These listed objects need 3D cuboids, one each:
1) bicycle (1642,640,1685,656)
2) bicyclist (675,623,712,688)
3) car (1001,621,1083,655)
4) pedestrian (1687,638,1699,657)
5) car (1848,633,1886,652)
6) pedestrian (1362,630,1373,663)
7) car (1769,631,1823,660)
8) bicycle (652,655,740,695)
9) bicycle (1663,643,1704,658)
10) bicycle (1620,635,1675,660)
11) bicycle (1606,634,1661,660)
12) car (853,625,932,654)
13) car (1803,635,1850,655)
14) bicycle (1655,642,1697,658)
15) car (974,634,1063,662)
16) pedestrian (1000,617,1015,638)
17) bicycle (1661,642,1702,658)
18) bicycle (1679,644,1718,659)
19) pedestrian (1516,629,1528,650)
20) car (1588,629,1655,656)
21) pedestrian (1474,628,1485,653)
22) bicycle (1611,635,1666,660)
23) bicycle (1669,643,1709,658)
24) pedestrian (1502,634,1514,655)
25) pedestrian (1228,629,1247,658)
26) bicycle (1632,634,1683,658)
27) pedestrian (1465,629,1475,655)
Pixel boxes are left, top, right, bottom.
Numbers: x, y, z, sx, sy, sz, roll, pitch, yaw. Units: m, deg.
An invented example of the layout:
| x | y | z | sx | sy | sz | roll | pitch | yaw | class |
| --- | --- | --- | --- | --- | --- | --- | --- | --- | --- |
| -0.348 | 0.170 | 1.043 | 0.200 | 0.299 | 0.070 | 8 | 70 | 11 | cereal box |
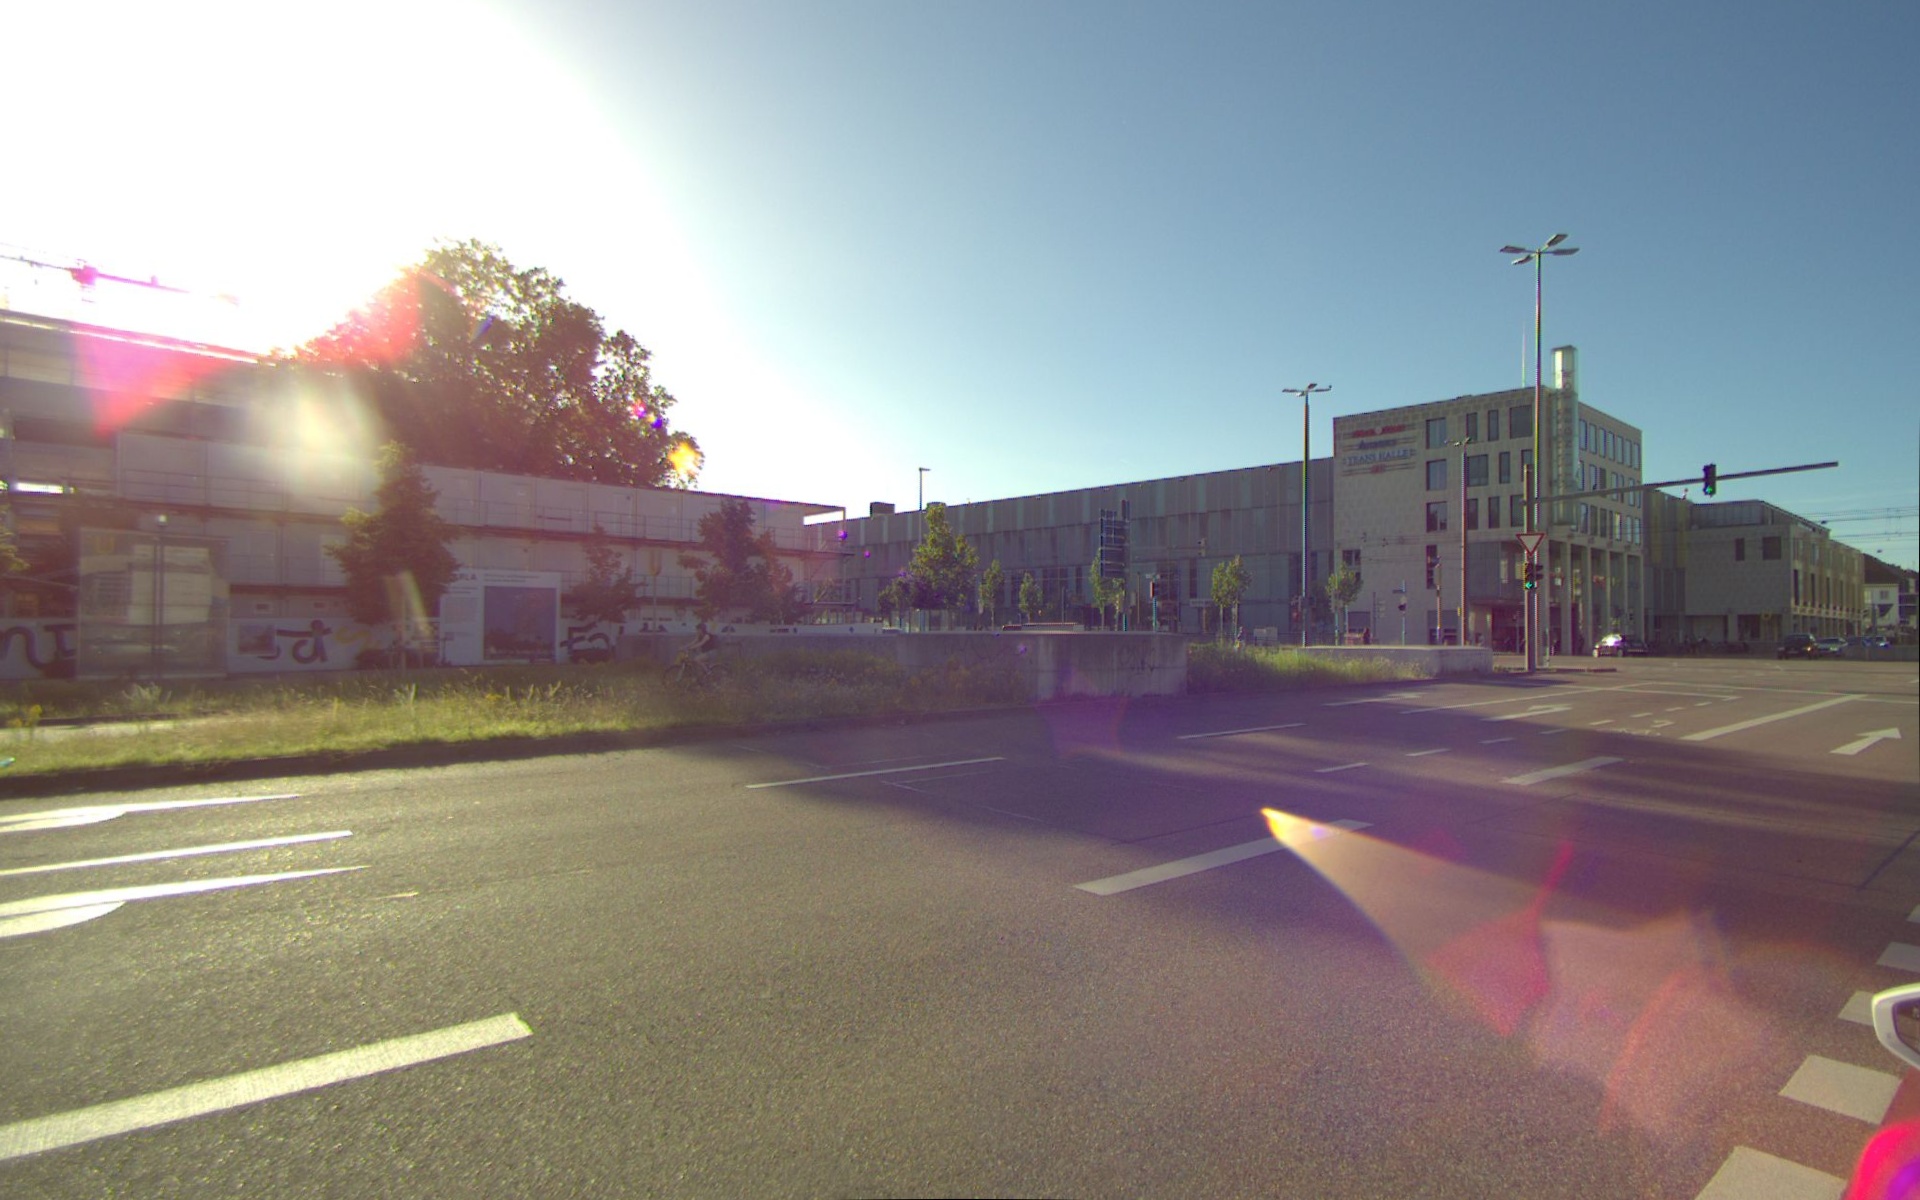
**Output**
| x | y | z | sx | sy | sz | roll | pitch | yaw | class |
| --- | --- | --- | --- | --- | --- | --- | --- | --- | --- |
| 62.779 | 4.288 | 89.702 | 0.896 | 1.419 | 3.021 | 1 | -3 | -43 | bicycle |
| -6.274 | 1.292 | 23.639 | 0.674 | 1.508 | 0.603 | 1 | -2 | -35 | bicyclist |
| 4.688 | 2.206 | 57.917 | 4.589 | 1.833 | 1.862 | -2 | -4 | 43 | car |
| 64.145 | 4.127 | 87.895 | 0.730 | 1.629 | 0.624 | -1 | -1 | 23 | pedestrian |
| 78.848 | 3.655 | 87.262 | 4.205 | 1.644 | 1.976 | 1 | -2 | -41 | car |
| 25.367 | 2.907 | 62.492 | 0.508 | 2.040 | 0.622 | -1 | -2 | 37 | pedestrian |
| 54.783 | 2.950 | 65.794 | 4.609 | 1.765 | 1.976 | 0 | -1 | -41 | car |
| -6.216 | 1.753 | 23.675 | 1.931 | 0.873 | 0.608 | 1 | -2 | -35 | bicycle |
| 68.377 | 4.745 | 94.950 | 0.896 | 1.419 | 3.021 | 1 | -3 | -43 | bicycle |
| 56.773 | 3.914 | 82.949 | 1.079 | 2.040 | 3.586 | 1 | -3 | -43 | bicycle |
| 54.521 | 3.804 | 81.322 | 3.581 | 2.040 | 1.080 | -2 | -2 | 43 | bicycle |
| -4.061 | 2.375 | 59.968 | 4.589 | 1.631 | 2.126 | -2 | -5 | 43 | car |
| 65.012 | 3.344 | 75.317 | 4.608 | 1.374 | 1.977 | 0 | -1 | -40 | car |
| 66.052 | 4.567 | 92.634 | 0.896 | 1.419 | 3.021 | 1 | -3 | -43 | bicycle |
| 3.081 | 2.574 | 53.596 | 4.589 | 1.392 | 1.862 | -2 | -5 | 43 | car |
| 3.490 | 2.008 | 73.568 | 0.791 | 1.522 | 0.720 | -1 | -2 | 42 | pedestrian |
| 67.425 | 4.660 | 93.901 | 0.896 | 1.419 | 3.021 | 1 | -3 | -43 | bicycle |
| 73.259 | 5.106 | 99.676 | 0.896 | 1.419 | 3.021 | 1 | -3 | -43 | bicycle |
| 43.598 | 3.044 | 77.966 | 0.648 | 1.629 | 0.617 | 1 | -2 | -41 | pedestrian |
| 41.694 | 2.655 | 63.390 | 1.746 | 1.584 | 3.790 | 0 | -1 | 1 | car |
| 42.234 | 3.279 | 81.655 | 0.616 | 2.040 | 0.513 | -1 | -2 | 42 | pedestrian |
| 55.496 | 3.867 | 82.225 | 1.079 | 2.040 | 3.586 | 1 | -3 | -43 | bicycle |
| 70.277 | 4.887 | 96.852 | 0.896 | 1.419 | 3.021 | 1 | -3 | -43 | bicycle |
| 42.975 | 3.492 | 78.750 | 0.648 | 1.629 | 0.617 | 1 | -2 | -41 | pedestrian |
| 14.779 | 2.316 | 53.440 | 0.713 | 1.522 | 0.799 | -1 | -2 | 41 | pedestrian |
| 60.849 | 3.987 | 87.652 | 0.896 | 2.040 | 3.586 | 1 | -3 | -43 | bicycle |
| 41.273 | 3.394 | 81.234 | 0.616 | 2.040 | 0.513 | -1 | -2 | 42 | pedestrian |
